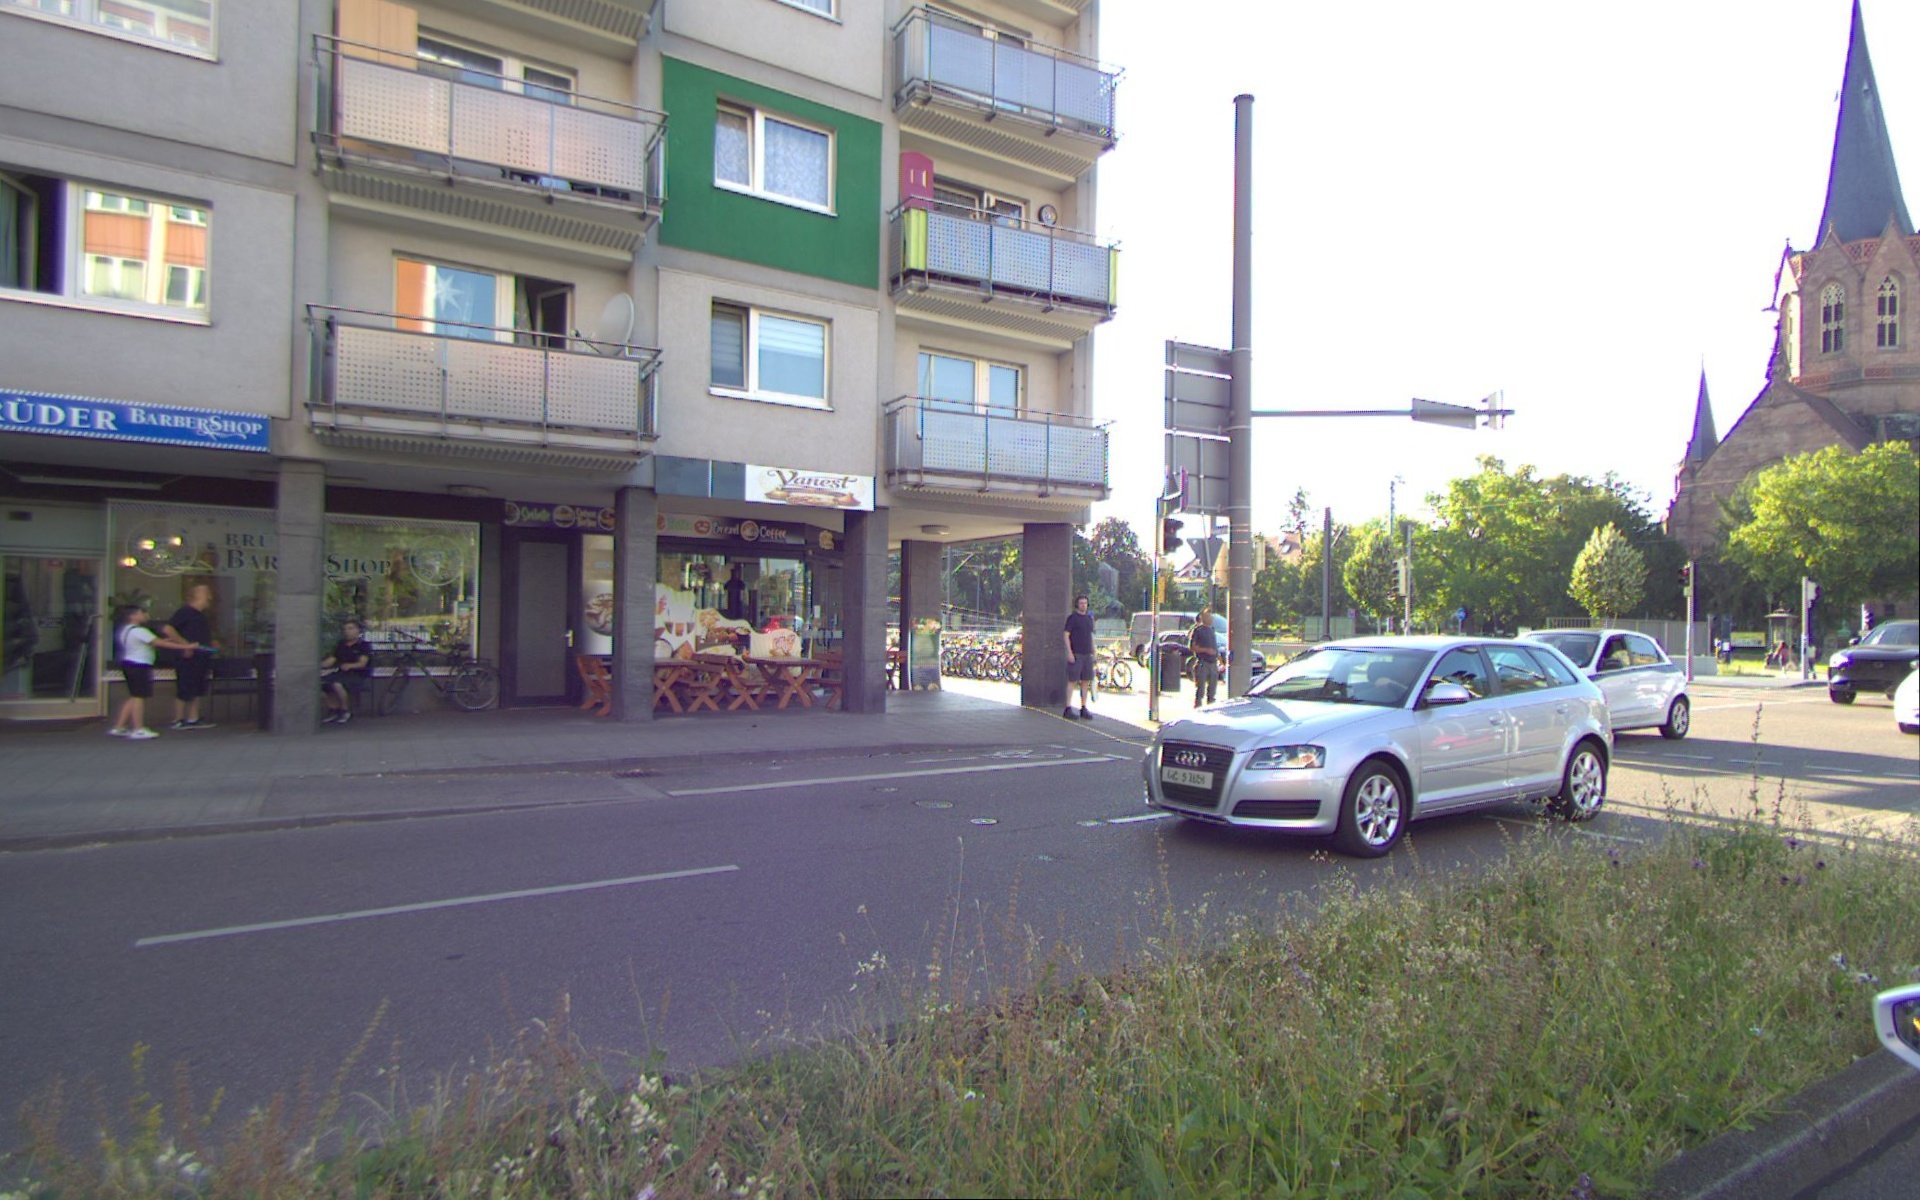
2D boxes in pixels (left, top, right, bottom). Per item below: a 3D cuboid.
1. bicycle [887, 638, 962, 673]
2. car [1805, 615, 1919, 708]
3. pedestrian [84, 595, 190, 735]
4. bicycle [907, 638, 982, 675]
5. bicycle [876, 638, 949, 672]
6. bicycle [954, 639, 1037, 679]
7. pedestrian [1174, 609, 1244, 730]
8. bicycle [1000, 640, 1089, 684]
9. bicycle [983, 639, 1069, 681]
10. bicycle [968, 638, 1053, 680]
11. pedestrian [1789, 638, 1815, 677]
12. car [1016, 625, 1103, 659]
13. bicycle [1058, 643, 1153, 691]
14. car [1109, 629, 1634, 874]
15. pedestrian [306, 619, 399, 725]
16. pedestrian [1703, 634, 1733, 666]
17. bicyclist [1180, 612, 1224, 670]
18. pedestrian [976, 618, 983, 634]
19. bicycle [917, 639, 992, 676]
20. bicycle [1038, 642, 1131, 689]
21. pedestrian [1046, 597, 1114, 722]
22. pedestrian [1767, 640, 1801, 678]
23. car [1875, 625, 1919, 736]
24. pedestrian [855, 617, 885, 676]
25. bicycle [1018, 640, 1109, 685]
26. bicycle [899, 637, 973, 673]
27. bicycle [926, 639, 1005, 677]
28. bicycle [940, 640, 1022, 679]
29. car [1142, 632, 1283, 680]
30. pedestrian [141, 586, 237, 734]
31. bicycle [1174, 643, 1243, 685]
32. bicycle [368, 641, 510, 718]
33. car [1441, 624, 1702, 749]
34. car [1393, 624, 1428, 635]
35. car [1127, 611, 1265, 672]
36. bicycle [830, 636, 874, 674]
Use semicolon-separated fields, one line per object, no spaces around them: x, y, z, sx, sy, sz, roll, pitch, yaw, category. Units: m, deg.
-1.112;1.738;31.559;2.273;1.065;0.731;2;-2;-31;bicycle
19.537;1.212;20.666;4.730;1.733;1.807;1;-2;-31;car
-9.018;0.697;11.030;0.614;1.486;0.658;1;-1;-8;pedestrian
-0.450;1.708;30.364;2.273;1.065;0.558;2;-2;-31;bicycle
-1.516;1.763;32.247;2.273;1.065;0.731;2;-2;-31;bicycle
1.009;1.630;27.898;2.273;1.065;0.731;2;-2;-31;bicycle
3.854;1.060;15.567;0.802;1.811;0.606;1;2;-27;pedestrian
2.171;1.577;25.718;2.273;1.065;0.731;2;-2;-31;bicycle
1.758;1.585;26.529;2.273;1.065;0.731;2;-2;-31;bicycle
1.372;1.595;27.219;2.273;1.065;0.731;2;-2;-31;bicycle
37.565;2.555;44.831;0.698;1.719;0.894;2;0;31;pedestrian
4.268;1.799;43.536;1.781;1.392;3.880;2;-2;-32;car
3.454;1.568;23.685;2.273;1.065;0.731;2;-1;-31;bicycle
3.253;0.958;7.736;4.057;1.444;1.700;1;-3;-32;car
-7.955;0.920;13.175;0.613;1.331;0.811;0;-1;16;pedestrian
42.586;2.804;56.431;0.830;1.719;1.014;2;0;-14;pedestrian
6.888;1.166;28.598;0.952;1.619;0.732;1;-2;-30;bicyclist
2.310;3.111;118.463;0.677;1.847;0.531;2;-1;-27;pedestrian
-0.155;1.695;29.855;2.273;1.065;0.558;2;-2;-31;bicycle
3.031;1.574;24.368;2.273;1.065;0.731;2;-2;-31;bicycle
1.898;0.921;15.849;0.802;1.900;0.605;1;2;-30;pedestrian
38.800;2.775;47.309;0.827;1.719;1.017;2;0;13;pedestrian
15.247;1.145;14.715;3.762;1.565;1.667;1;-2;-31;car
-2.712;1.386;30.244;0.677;1.745;0.605;1;-1;-31;pedestrian
2.595;1.560;25.051;2.273;1.065;0.731;2;-2;-31;bicycle
-0.726;1.684;30.873;2.273;1.065;0.642;2;-2;-31;bicycle
0.170;1.692;29.270;2.273;1.065;0.731;2;-2;-31;bicycle
0.608;1.678;28.589;2.273;1.065;0.731;2;-2;-31;bicycle
7.695;1.689;31.000;1.781;1.330;4.165;2;-2;-32;car
-9.144;0.694;11.930;0.613;1.694;0.658;0;-1;24;pedestrian
7.002;1.782;28.392;0.940;1.112;1.769;1;-2;-30;bicycle
-7.361;1.097;14.228;1.684;1.012;0.619;2;-2;-40;bicycle
8.719;1.147;14.285;3.595;1.565;1.667;1;-2;-31;car
67.668;4.385;150.948;1.985;1.592;4.411;2;-2;-41;car
8.386;1.457;36.172;1.978;2.040;4.896;2;-2;-32;car
-3.239;1.622;29.958;0.514;1.106;2.050;1;-2;-30;bicycle
